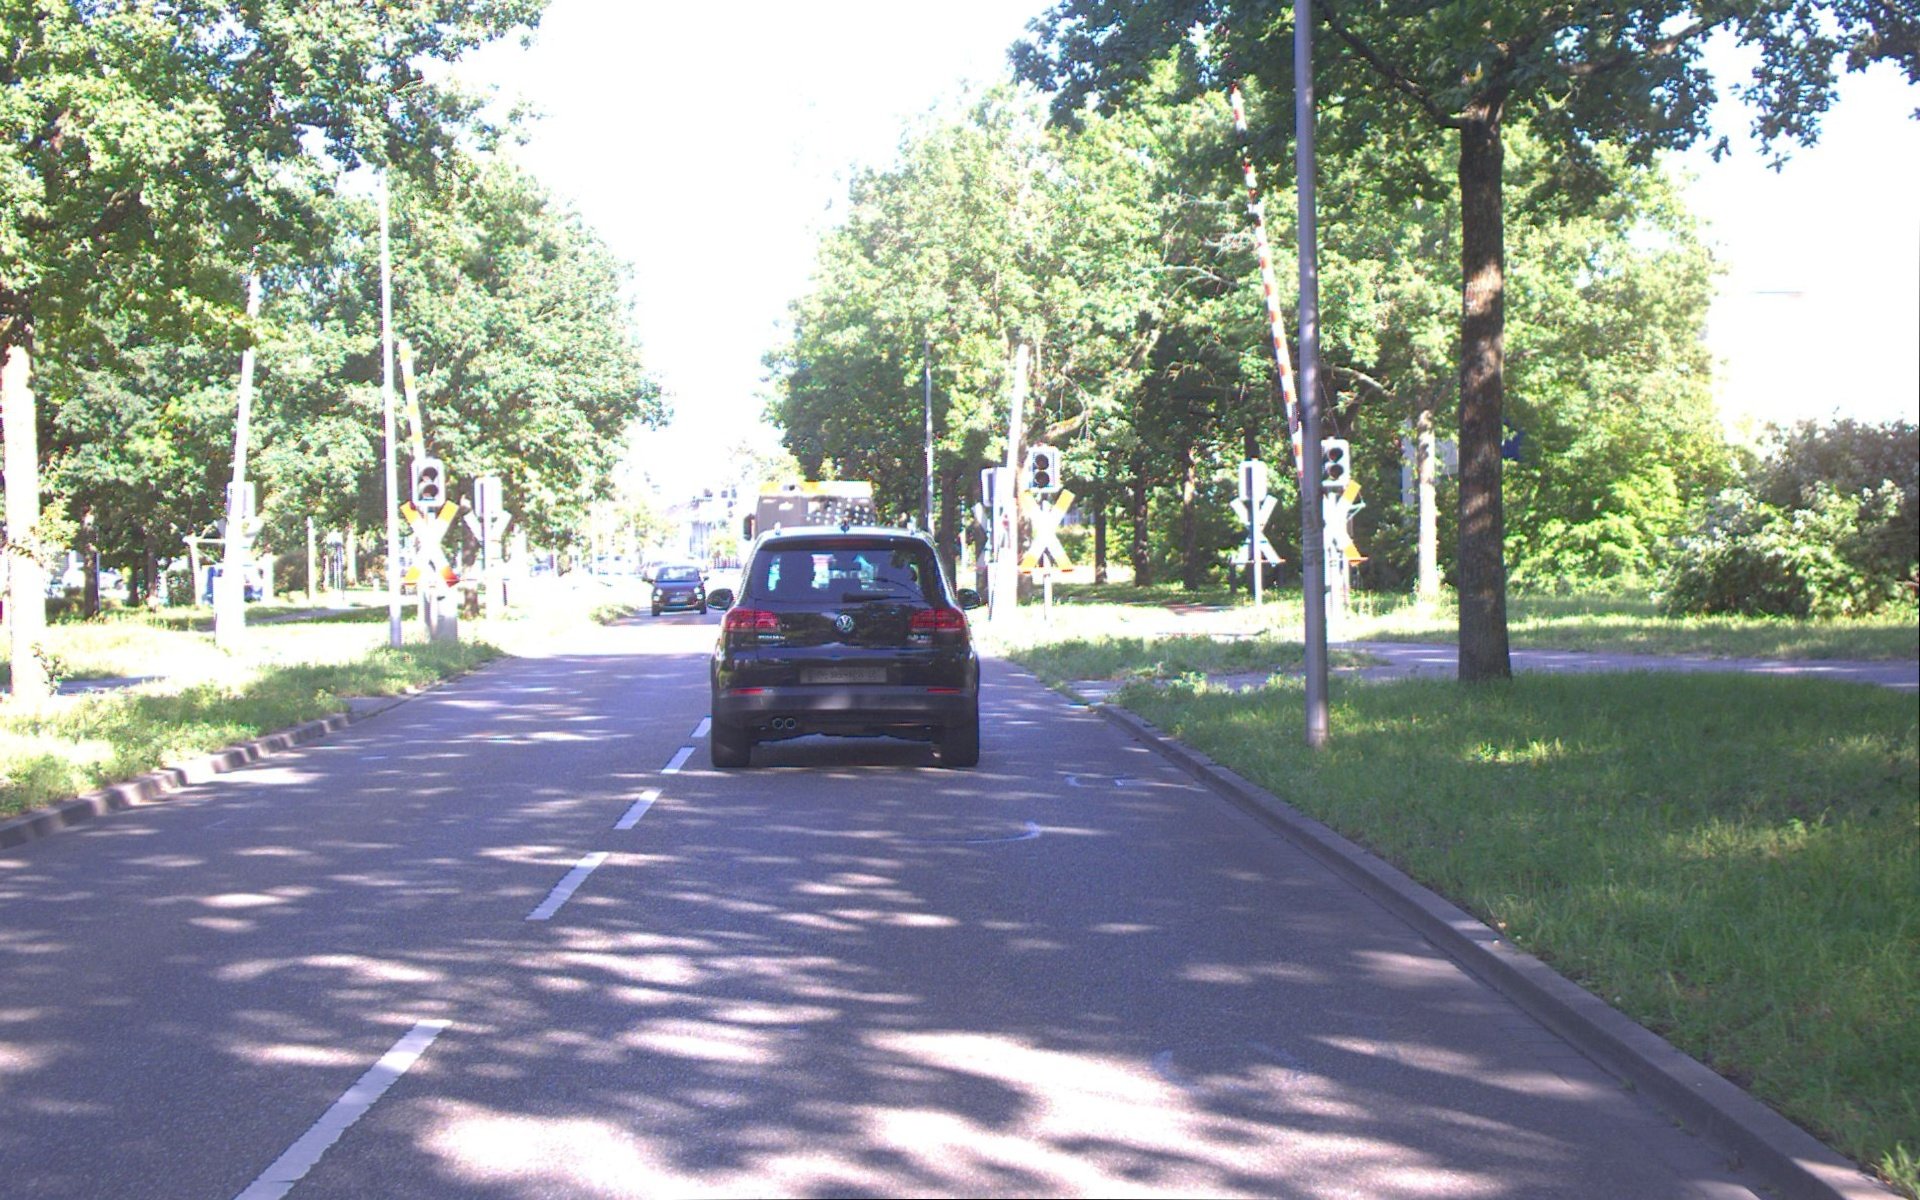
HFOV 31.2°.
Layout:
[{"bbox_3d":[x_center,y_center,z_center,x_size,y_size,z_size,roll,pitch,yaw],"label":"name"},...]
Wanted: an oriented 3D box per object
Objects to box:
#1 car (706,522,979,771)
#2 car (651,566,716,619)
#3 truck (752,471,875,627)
[{"bbox_3d":[-0.822,0.280,24.643,1.782,1.628,4.000,0,1,-1],"label":"car"},{"bbox_3d":[-8.223,-0.234,102.479,1.565,1.499,4.000,0,1,1],"label":"car"},{"bbox_3d":[-3.194,-1.129,76.327,2.512,3.232,8.153,-1,1,-2],"label":"truck"}]
